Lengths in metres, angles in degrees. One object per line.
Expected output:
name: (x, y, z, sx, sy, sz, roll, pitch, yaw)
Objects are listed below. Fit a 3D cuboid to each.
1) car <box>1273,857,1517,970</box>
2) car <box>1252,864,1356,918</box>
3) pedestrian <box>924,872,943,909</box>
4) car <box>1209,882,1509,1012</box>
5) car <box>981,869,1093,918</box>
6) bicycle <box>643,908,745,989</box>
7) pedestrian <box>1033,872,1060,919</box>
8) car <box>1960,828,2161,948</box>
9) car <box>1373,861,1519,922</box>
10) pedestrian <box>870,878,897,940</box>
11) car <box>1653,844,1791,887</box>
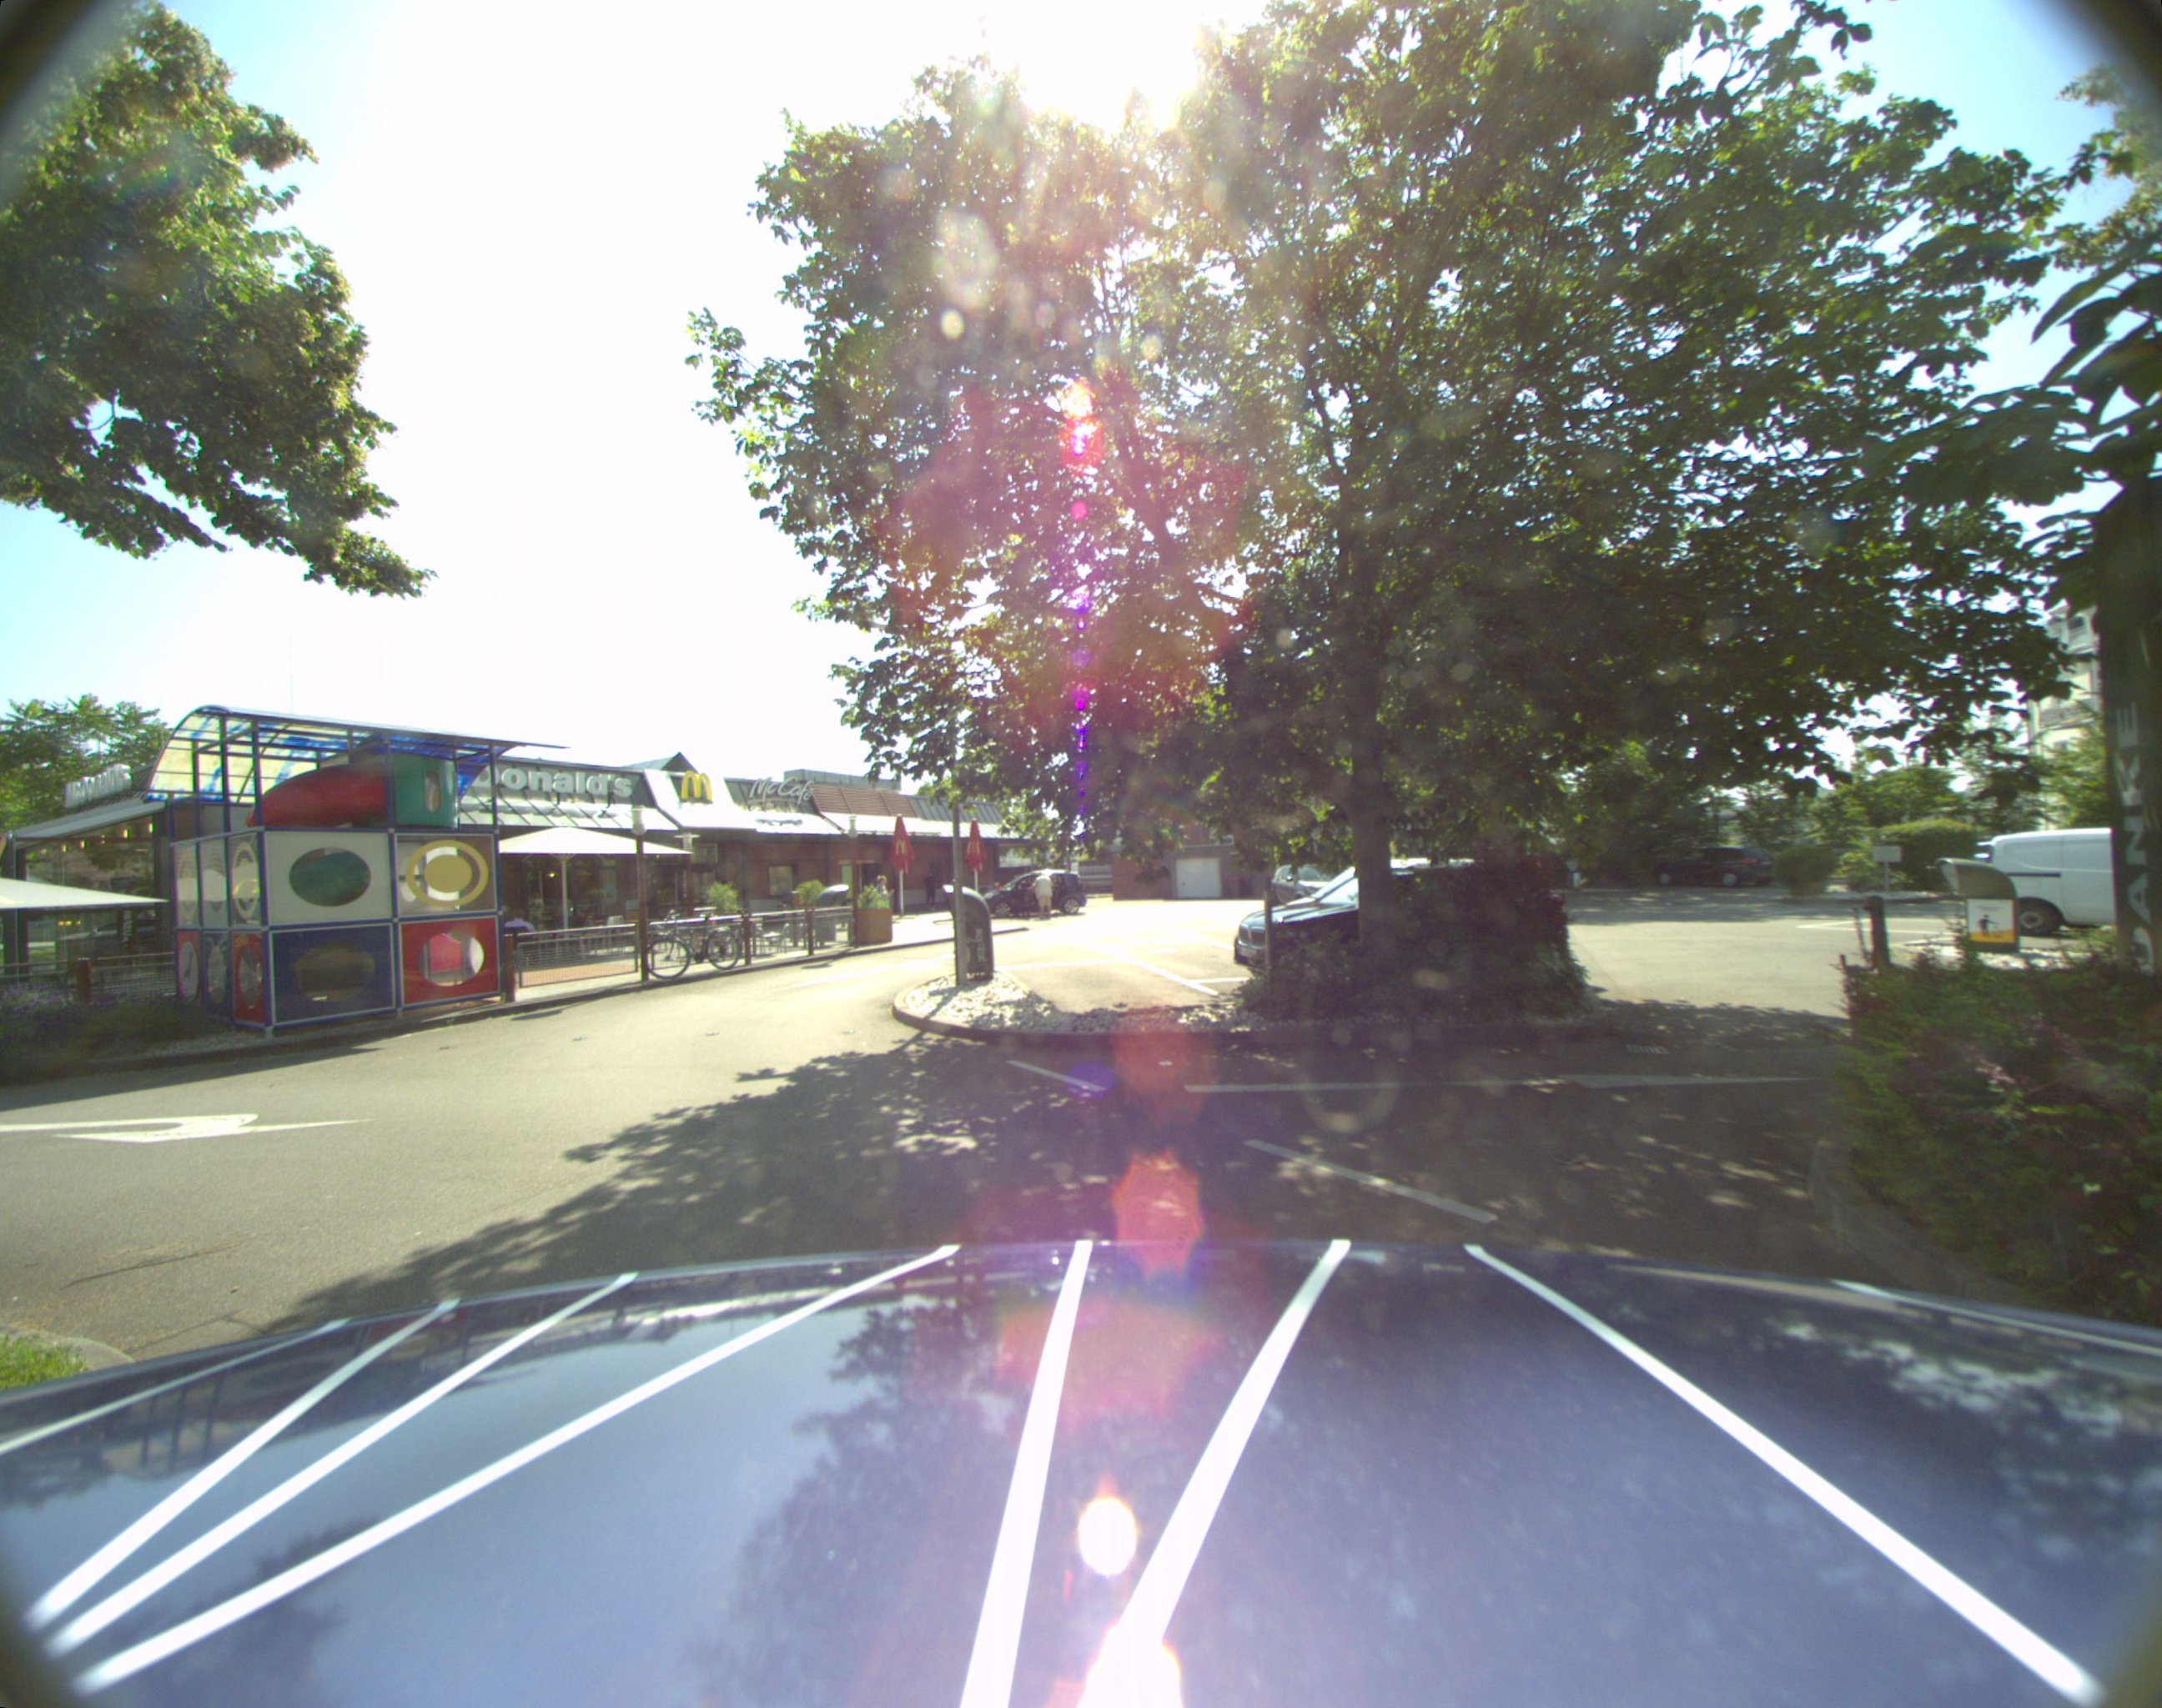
car: (6.002, 1.024, 14.521, 4.232, 1.788, 1.757, -2, 0, -21)
car: (6.936, 1.106, 24.037, 1.621, 1.523, 3.609, -2, 0, -12)
pedestrian: (-6.728, 1.648, 34.647, 0.541, 1.641, 0.624, -2, 0, 30)
car: (4.088, 1.241, 11.186, 4.004, 1.484, 1.653, -2, -1, -21)
car: (-1.725, 1.476, 28.879, 4.000, 1.647, 1.955, -2, -1, -9)
bicycle: (-6.765, 1.624, 13.349, 0.309, 1.180, 1.615, 0, 3, 33)
pedestrian: (-1.241, 1.460, 27.217, 0.833, 1.628, 0.788, -2, 0, -10)
car: (17.374, 0.497, 11.884, 1.750, 1.816, 4.348, -3, -1, -18)
car: (11.063, 1.106, 23.105, 3.725, 1.622, 1.667, -2, 0, -12)
pedestrian: (-5.171, 1.429, 19.954, 0.597, 1.558, 0.571, -2, 0, -11)
car: (25.354, 0.440, 30.231, 1.820, 1.567, 3.866, -2, 0, -12)
